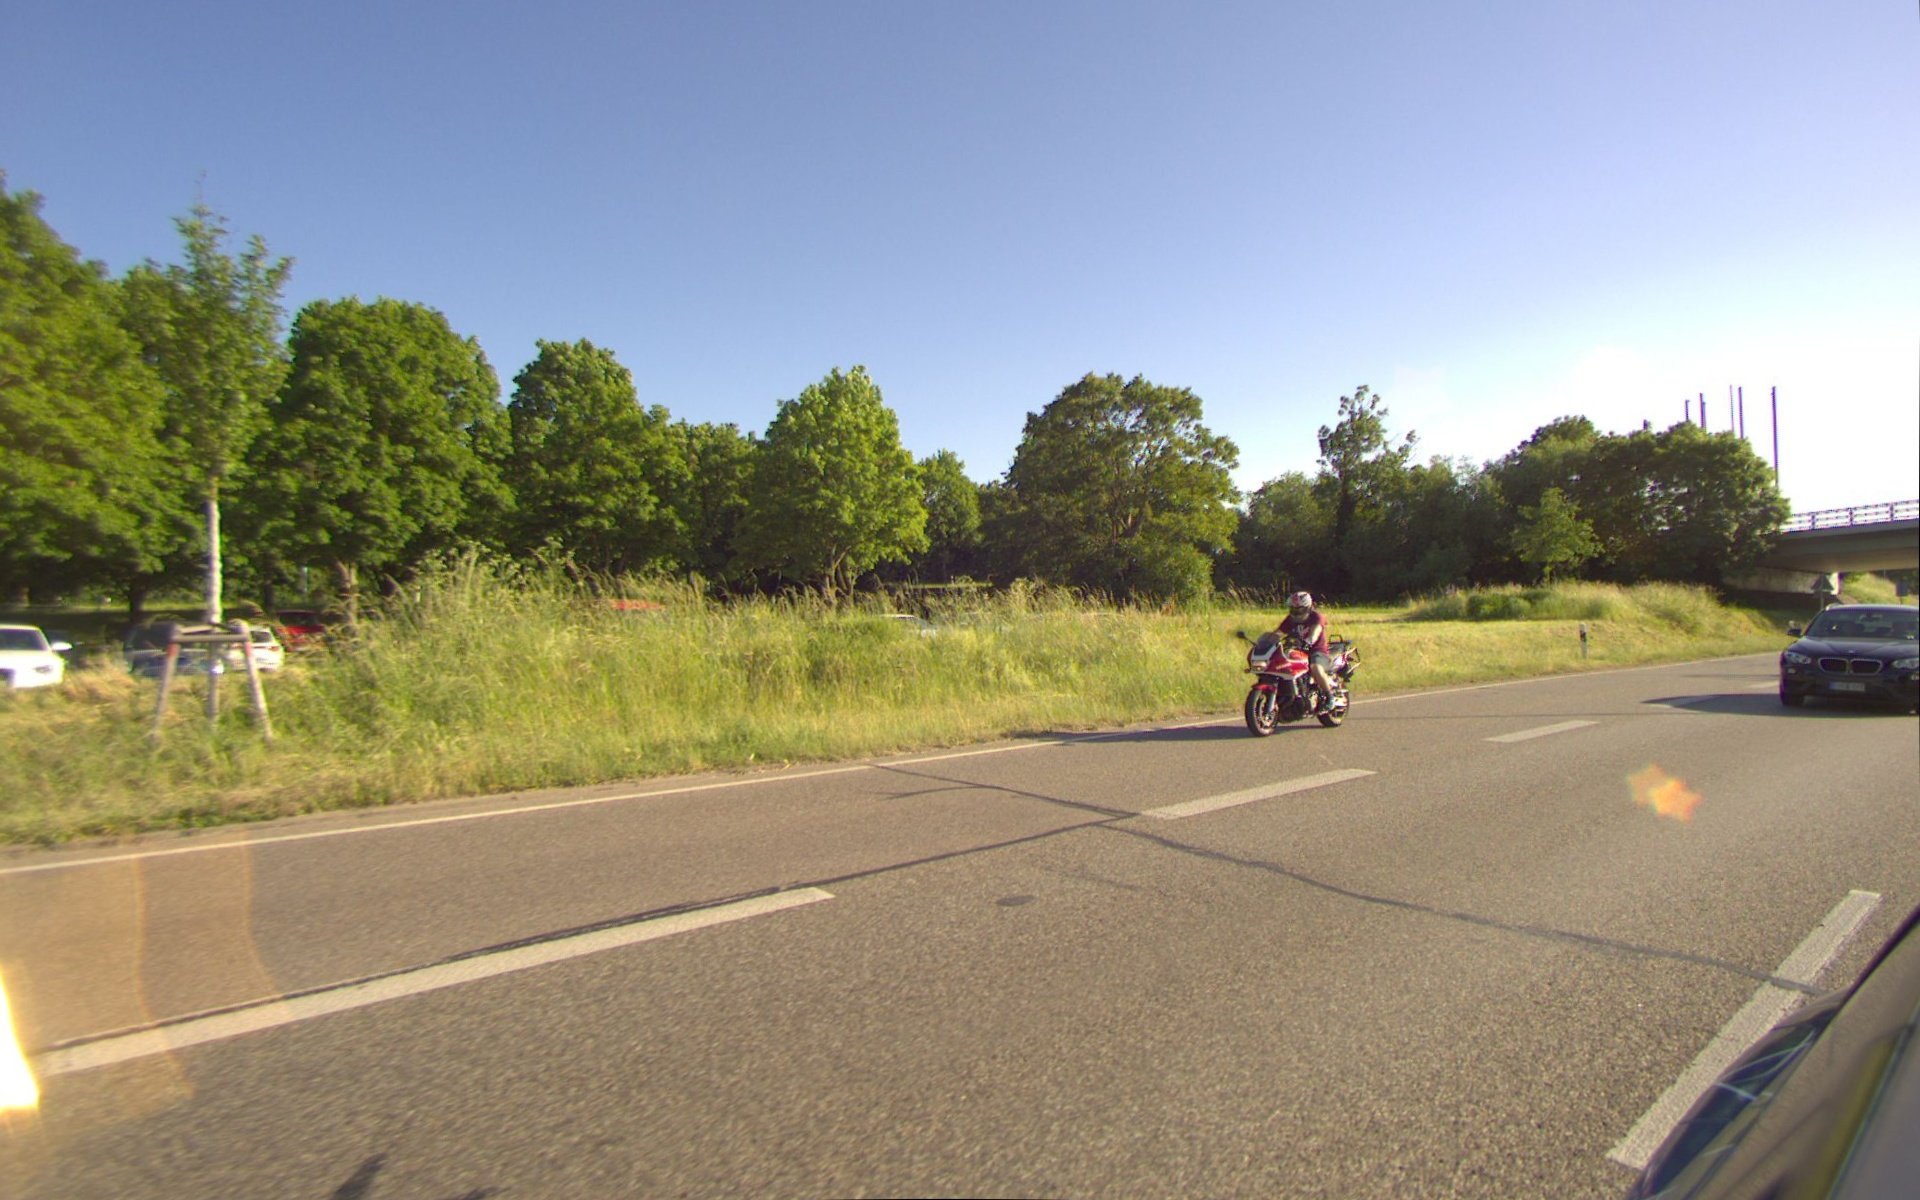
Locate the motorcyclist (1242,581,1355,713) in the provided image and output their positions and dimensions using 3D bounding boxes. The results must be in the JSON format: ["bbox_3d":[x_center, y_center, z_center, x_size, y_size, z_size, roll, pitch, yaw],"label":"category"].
[{"bbox_3d":[4.000,0.519,11.956,1.074,1.465,0.818,0,0,-39],"label":"motorcyclist"}]

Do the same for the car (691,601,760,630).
[{"bbox_3d":[-13.016,0.828,56.066,1.836,1.441,4.113,-4,2,-43],"label":"car"}]

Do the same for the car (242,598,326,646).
[{"bbox_3d":[-28.793,0.880,43.050,4.582,1.798,1.917,1,2,43],"label":"car"}]

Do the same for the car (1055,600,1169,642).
[{"bbox_3d":[5.695,0.756,38.273,3.923,1.322,1.993,-2,2,-1],"label":"car"}]

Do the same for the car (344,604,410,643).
[{"bbox_3d":[-26.023,1.053,45.127,1.757,1.580,4.218,-1,-1,-41],"label":"car"}]

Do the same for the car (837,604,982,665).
[{"bbox_3d":[-1.462,0.900,28.114,1.893,1.477,3.934,-4,2,-43],"label":"car"}]

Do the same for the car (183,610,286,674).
[{"bbox_3d":[-19.547,1.146,27.198,1.711,1.530,4.286,-1,-2,-43],"label":"car"}]

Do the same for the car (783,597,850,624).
[{"bbox_3d":[-8.480,0.586,59.510,1.836,1.441,4.113,-4,2,-43],"label":"car"}]

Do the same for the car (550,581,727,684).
[{"bbox_3d":[-7.541,0.676,23.442,1.993,2.048,4.793,-4,2,-43],"label":"car"}]

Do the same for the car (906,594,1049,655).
[{"bbox_3d":[0.462,0.689,29.988,1.893,1.578,4.113,-4,2,-43],"label":"car"}]

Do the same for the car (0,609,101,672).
[{"bbox_3d":[-27.020,1.210,29.916,2.001,1.684,4.656,-2,-1,-35],"label":"car"}]

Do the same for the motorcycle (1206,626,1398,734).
[{"bbox_3d":[4.129,0.894,12.064,2.785,1.083,0.818,0,0,-39],"label":"motorcycle"}]

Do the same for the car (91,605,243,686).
[{"bbox_3d":[-14.130,0.800,17.986,1.926,1.233,4.218,-1,-2,-40],"label":"car"}]

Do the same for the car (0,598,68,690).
[{"bbox_3d":[-15.621,0.740,16.259,1.927,1.327,4.216,-1,-2,-41],"label":"car"}]

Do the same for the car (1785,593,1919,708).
[{"bbox_3d":[14.401,0.675,15.637,4.497,1.525,1.702,-1,0,-40],"label":"car"}]
